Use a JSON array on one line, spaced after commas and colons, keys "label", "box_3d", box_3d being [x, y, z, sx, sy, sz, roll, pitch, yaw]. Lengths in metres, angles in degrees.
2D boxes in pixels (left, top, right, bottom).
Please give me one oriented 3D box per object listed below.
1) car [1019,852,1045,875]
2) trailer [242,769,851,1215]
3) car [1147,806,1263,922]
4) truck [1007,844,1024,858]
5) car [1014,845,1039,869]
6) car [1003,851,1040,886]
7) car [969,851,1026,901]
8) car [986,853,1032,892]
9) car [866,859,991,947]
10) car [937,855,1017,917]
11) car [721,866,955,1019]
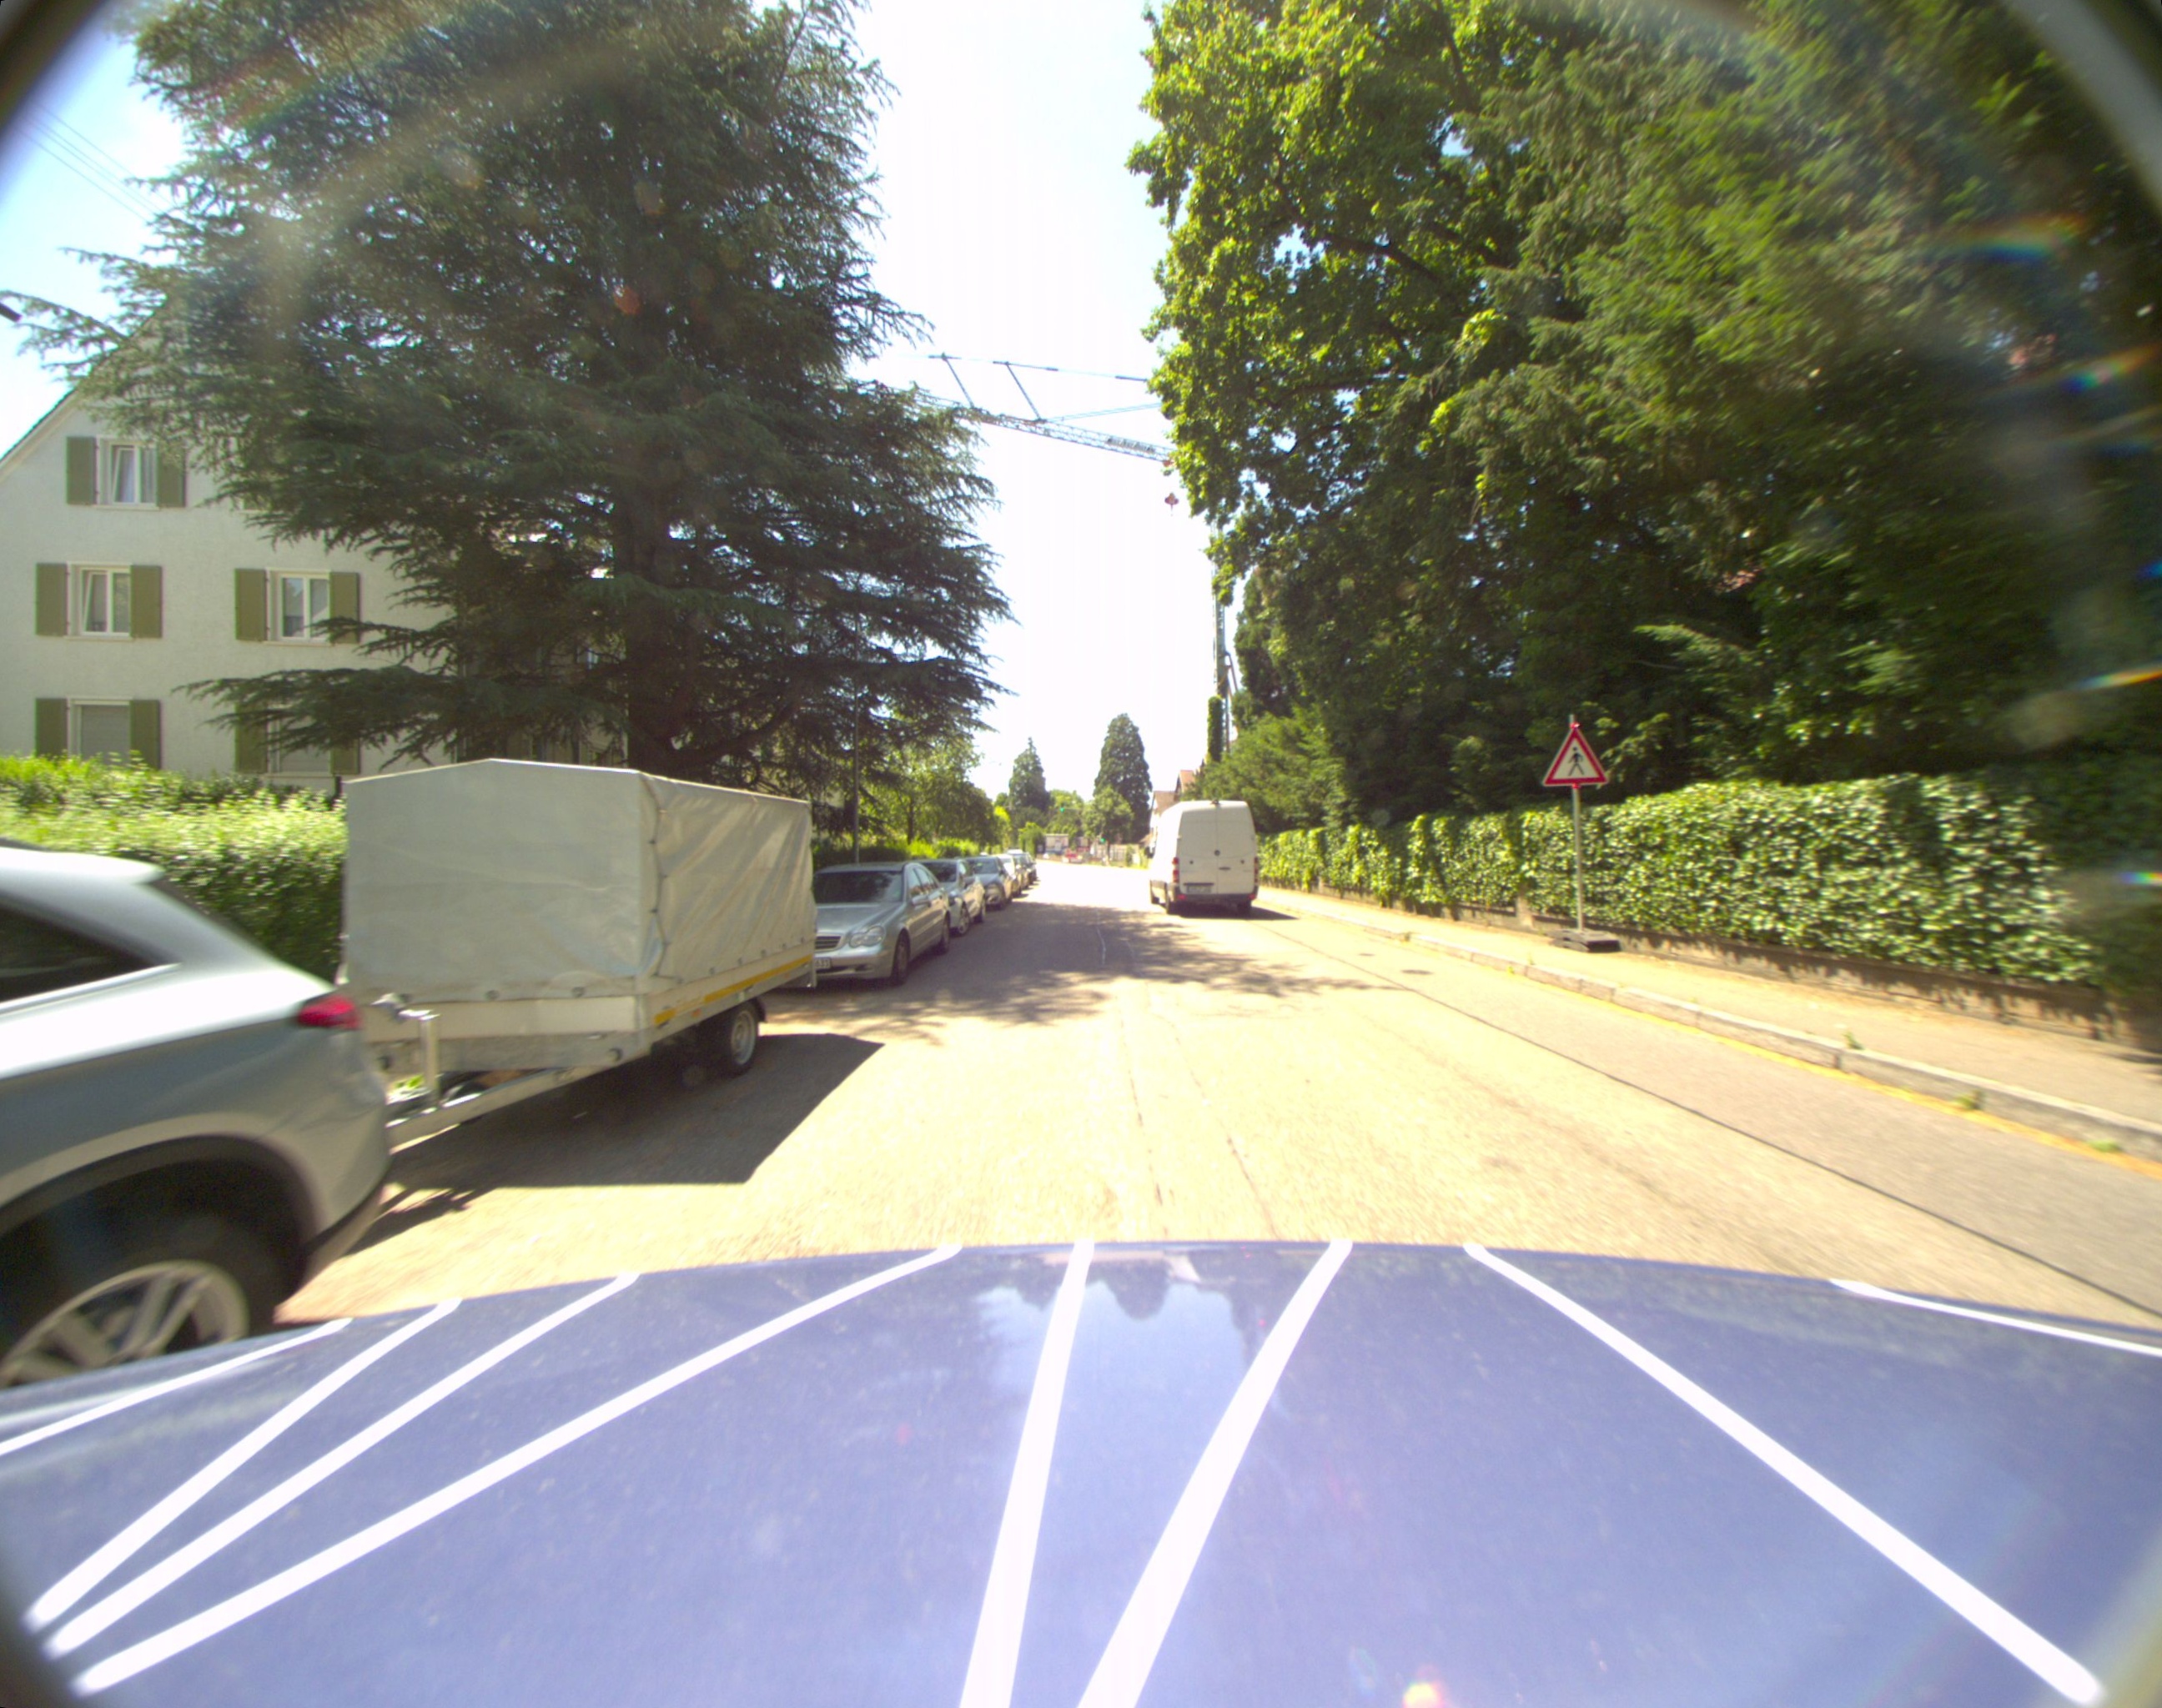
[{"label": "car", "box_3d": [-3.499, 0.613, 53.378, 1.666, 1.427, 4.126, -3, 1, -5]}, {"label": "trailer", "box_3d": [-3.094, 0.657, 5.465, 1.684, 2.056, 3.708, -2, 0, 0]}, {"label": "car", "box_3d": [2.970, 0.219, 19.559, 1.998, 2.518, 5.894, -1, 0, 0]}, {"label": "truck", "box_3d": [-11.074, -0.484, 127.803, 2.135, 2.325, 6.427, 0, 0, -12]}, {"label": "car", "box_3d": [-4.439, 0.238, 61.130, 1.667, 1.793, 4.199, -3, 1, -7]}, {"label": "car", "box_3d": [-2.861, 0.653, 37.085, 1.586, 1.566, 4.007, -1, 0, -2]}, {"label": "car", "box_3d": [-2.925, 0.738, 27.321, 1.619, 1.504, 4.062, -4, 1, -2]}, {"label": "car", "box_3d": [-3.037, 0.790, 32.492, 1.586, 1.434, 4.008, -4, -1, -2]}, {"label": "car", "box_3d": [-2.913, 0.877, 15.363, 1.618, 1.461, 4.064, -1, 0, 1]}, {"label": "car", "box_3d": [-2.833, 0.825, 21.527, 1.619, 1.442, 4.373, -1, 1, 0]}, {"label": "car", "box_3d": [-2.857, 0.950, 9.977, 1.618, 1.388, 4.258, -2, 1, 0]}]
